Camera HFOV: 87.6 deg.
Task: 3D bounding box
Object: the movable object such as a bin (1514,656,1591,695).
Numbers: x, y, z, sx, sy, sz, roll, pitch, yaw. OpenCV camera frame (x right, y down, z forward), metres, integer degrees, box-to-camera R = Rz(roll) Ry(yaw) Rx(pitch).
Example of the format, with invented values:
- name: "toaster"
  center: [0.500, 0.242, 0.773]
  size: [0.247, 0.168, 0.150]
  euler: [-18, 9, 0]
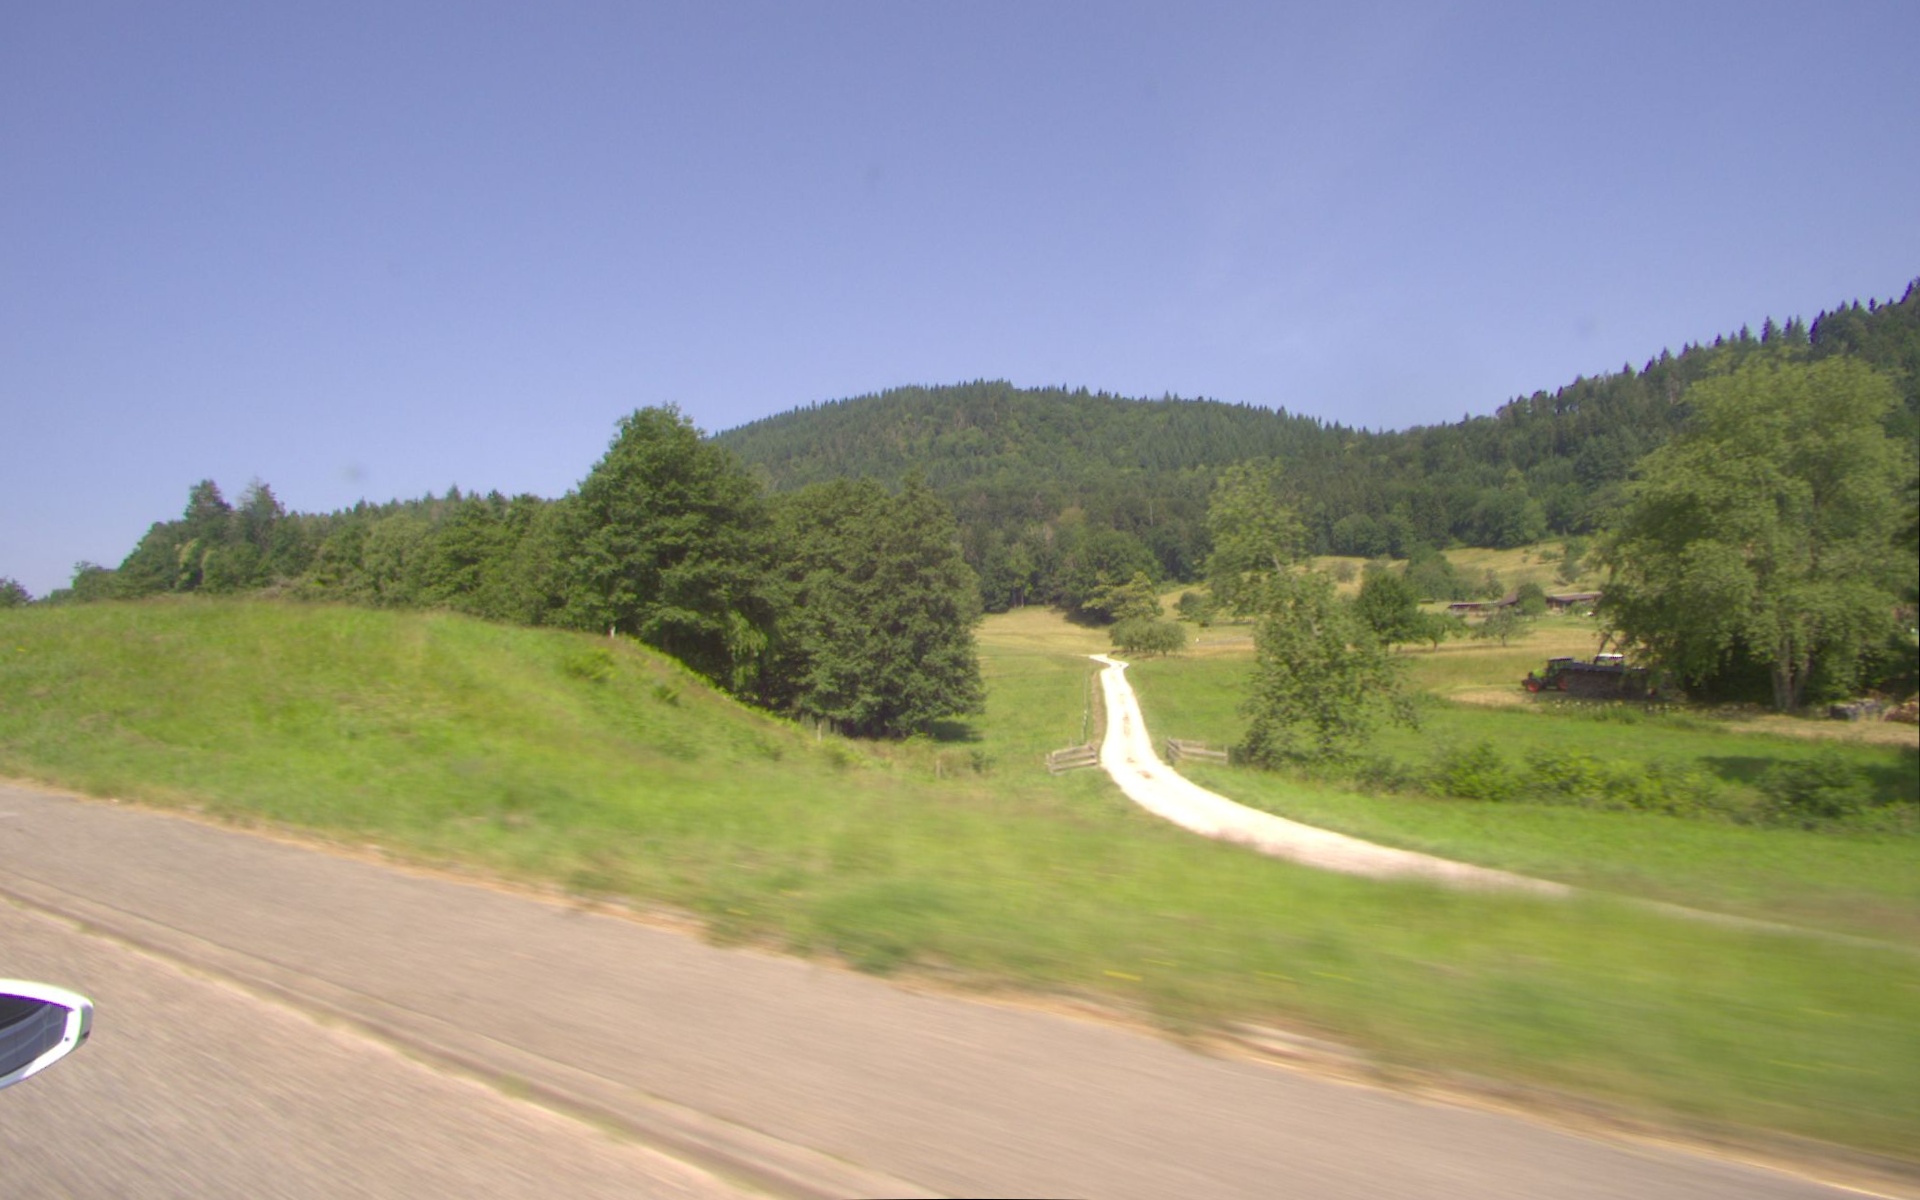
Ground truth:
- name: "movable object such as a bin"
  center: [41.783, 5.302, 70.678]
  size: [4.485, 2.631, 1.988]
  euler: [-3, -3, 36]
